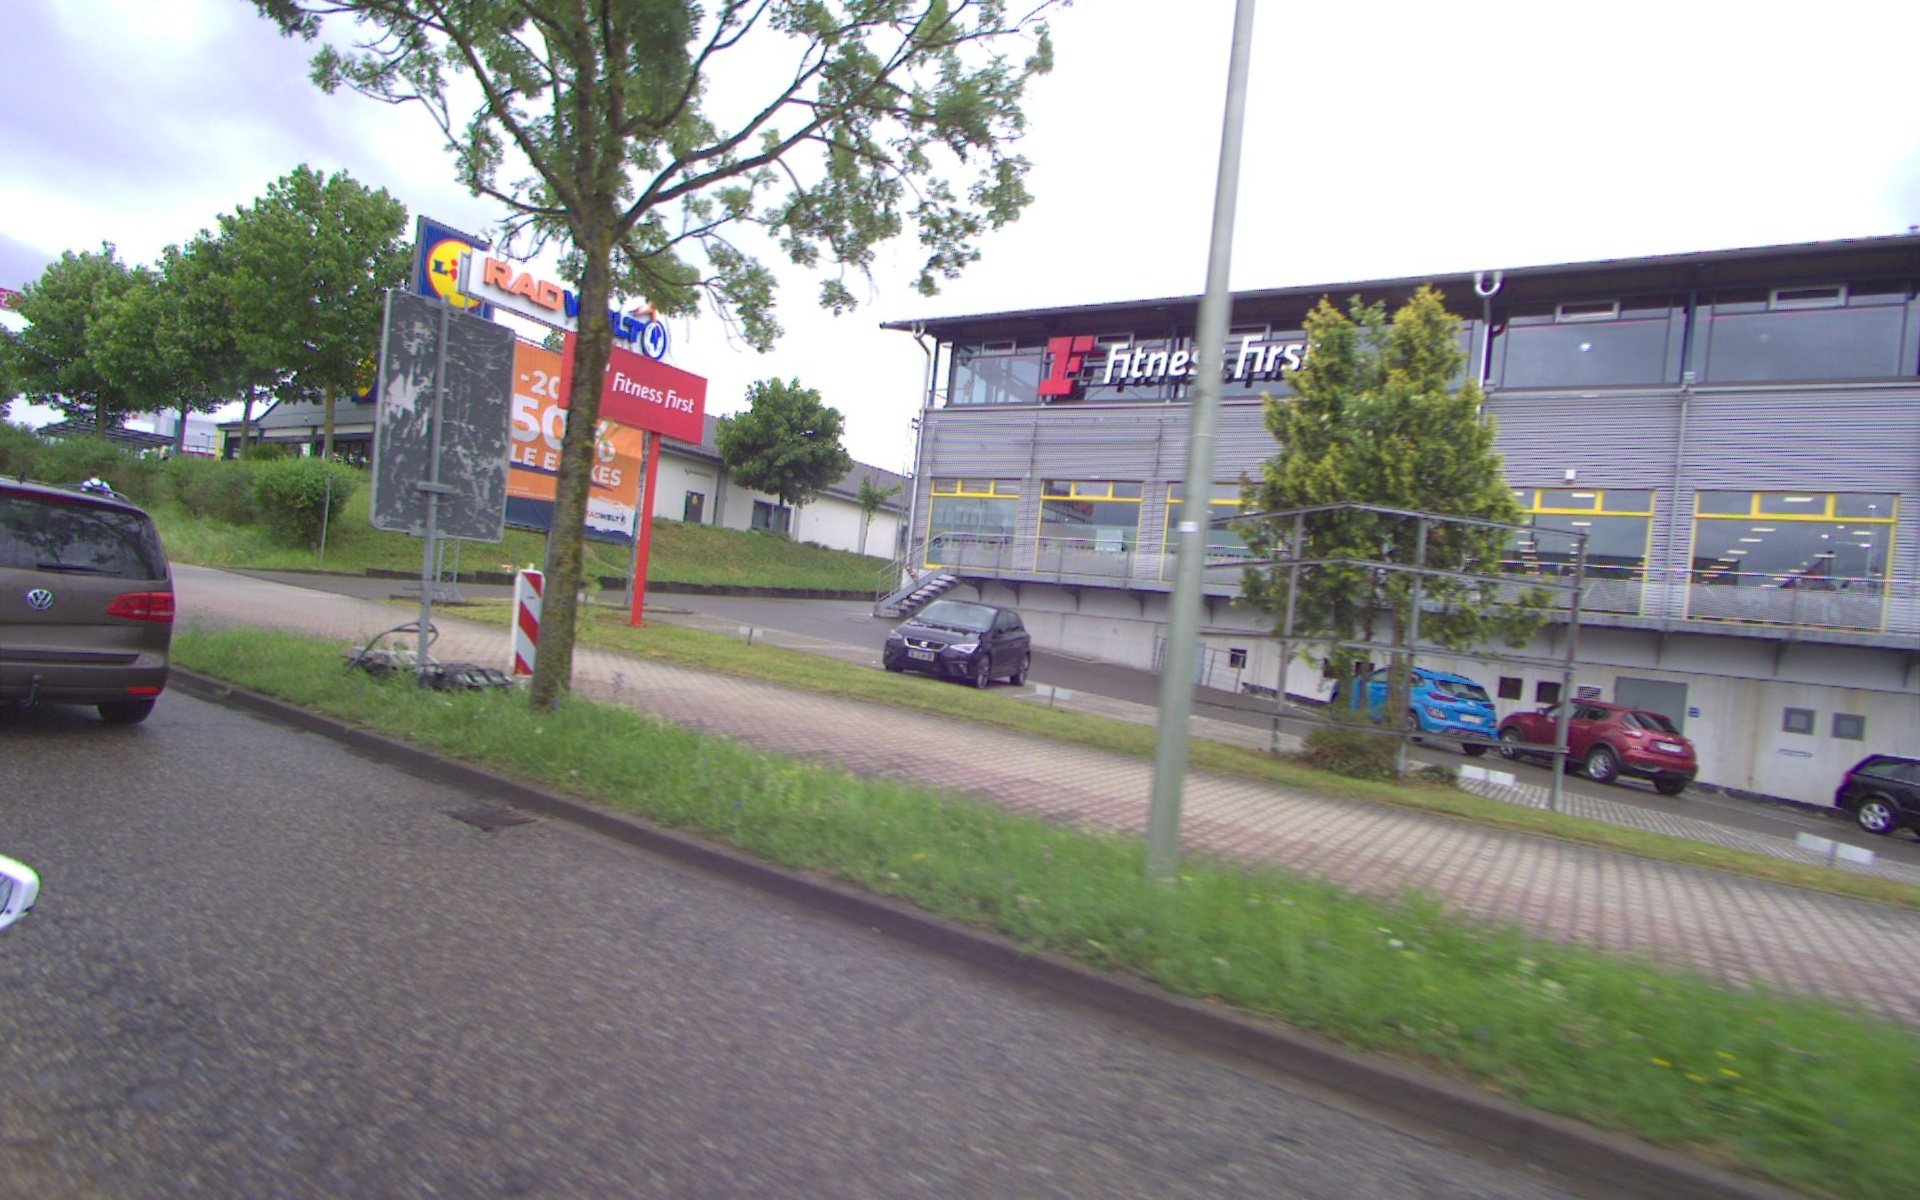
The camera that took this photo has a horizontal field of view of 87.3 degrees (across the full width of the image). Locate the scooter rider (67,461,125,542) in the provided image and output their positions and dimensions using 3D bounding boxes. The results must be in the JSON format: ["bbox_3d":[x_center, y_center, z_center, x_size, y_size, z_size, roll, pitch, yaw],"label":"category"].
[{"bbox_3d":[-20.821,-2.368,24.244,0.843,1.844,0.696,6,2,27],"label":"scooter rider"}]

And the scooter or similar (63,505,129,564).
[{"bbox_3d":[-20.811,-1.582,24.228,1.376,1.280,0.696,6,2,27],"label":"scooter or similar"}]

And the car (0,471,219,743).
[{"bbox_3d":[-7.336,-0.160,7.147,4.147,1.599,1.689,7,-2,30],"label":"car"}]

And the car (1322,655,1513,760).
[{"bbox_3d":[9.870,2.269,22.081,1.712,1.578,3.902,9,0,-10],"label":"car"}]

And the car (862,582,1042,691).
[{"bbox_3d":[0.004,0.676,17.838,1.763,1.455,4.105,9,0,18],"label":"car"}]

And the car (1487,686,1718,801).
[{"bbox_3d":[12.979,2.843,20.646,1.711,1.520,3.867,9,0,-8],"label":"car"}]

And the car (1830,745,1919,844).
[{"bbox_3d":[17.806,3.675,17.108,1.712,1.488,4.249,9,0,-12],"label":"car"}]

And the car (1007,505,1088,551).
[{"bbox_3d":[3.970,-3.197,45.193,1.772,1.676,3.982,6,3,35],"label":"car"}]
